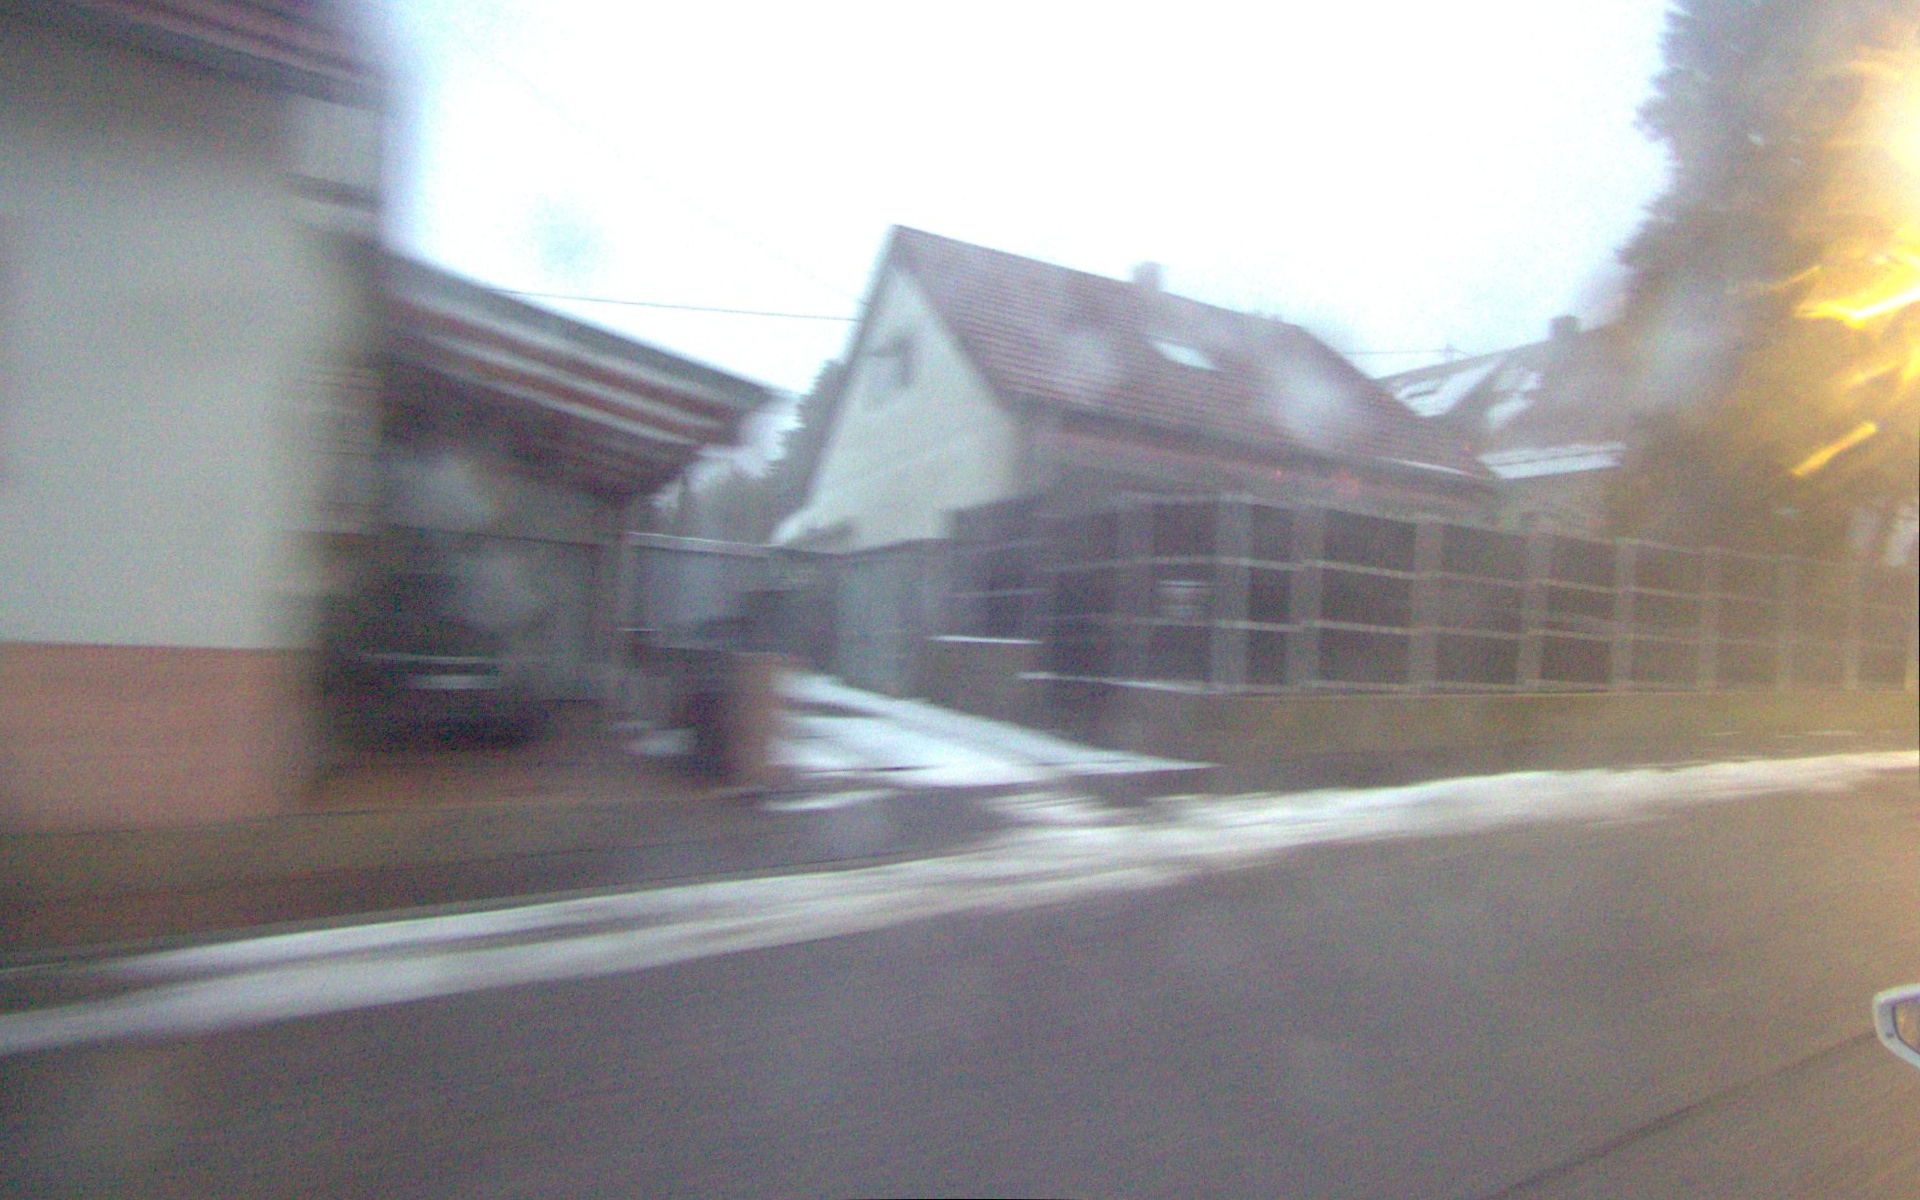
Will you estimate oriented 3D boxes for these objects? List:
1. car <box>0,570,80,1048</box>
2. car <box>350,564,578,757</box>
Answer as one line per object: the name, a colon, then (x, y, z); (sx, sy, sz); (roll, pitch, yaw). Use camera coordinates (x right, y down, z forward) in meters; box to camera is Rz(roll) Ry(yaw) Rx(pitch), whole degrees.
car: (-5.136, 0.589, 1.589); (5.329, 1.445, 1.867); (1, 1, -30)
car: (-5.449, 0.533, 10.983); (1.772, 1.669, 3.969); (5, 0, -28)
